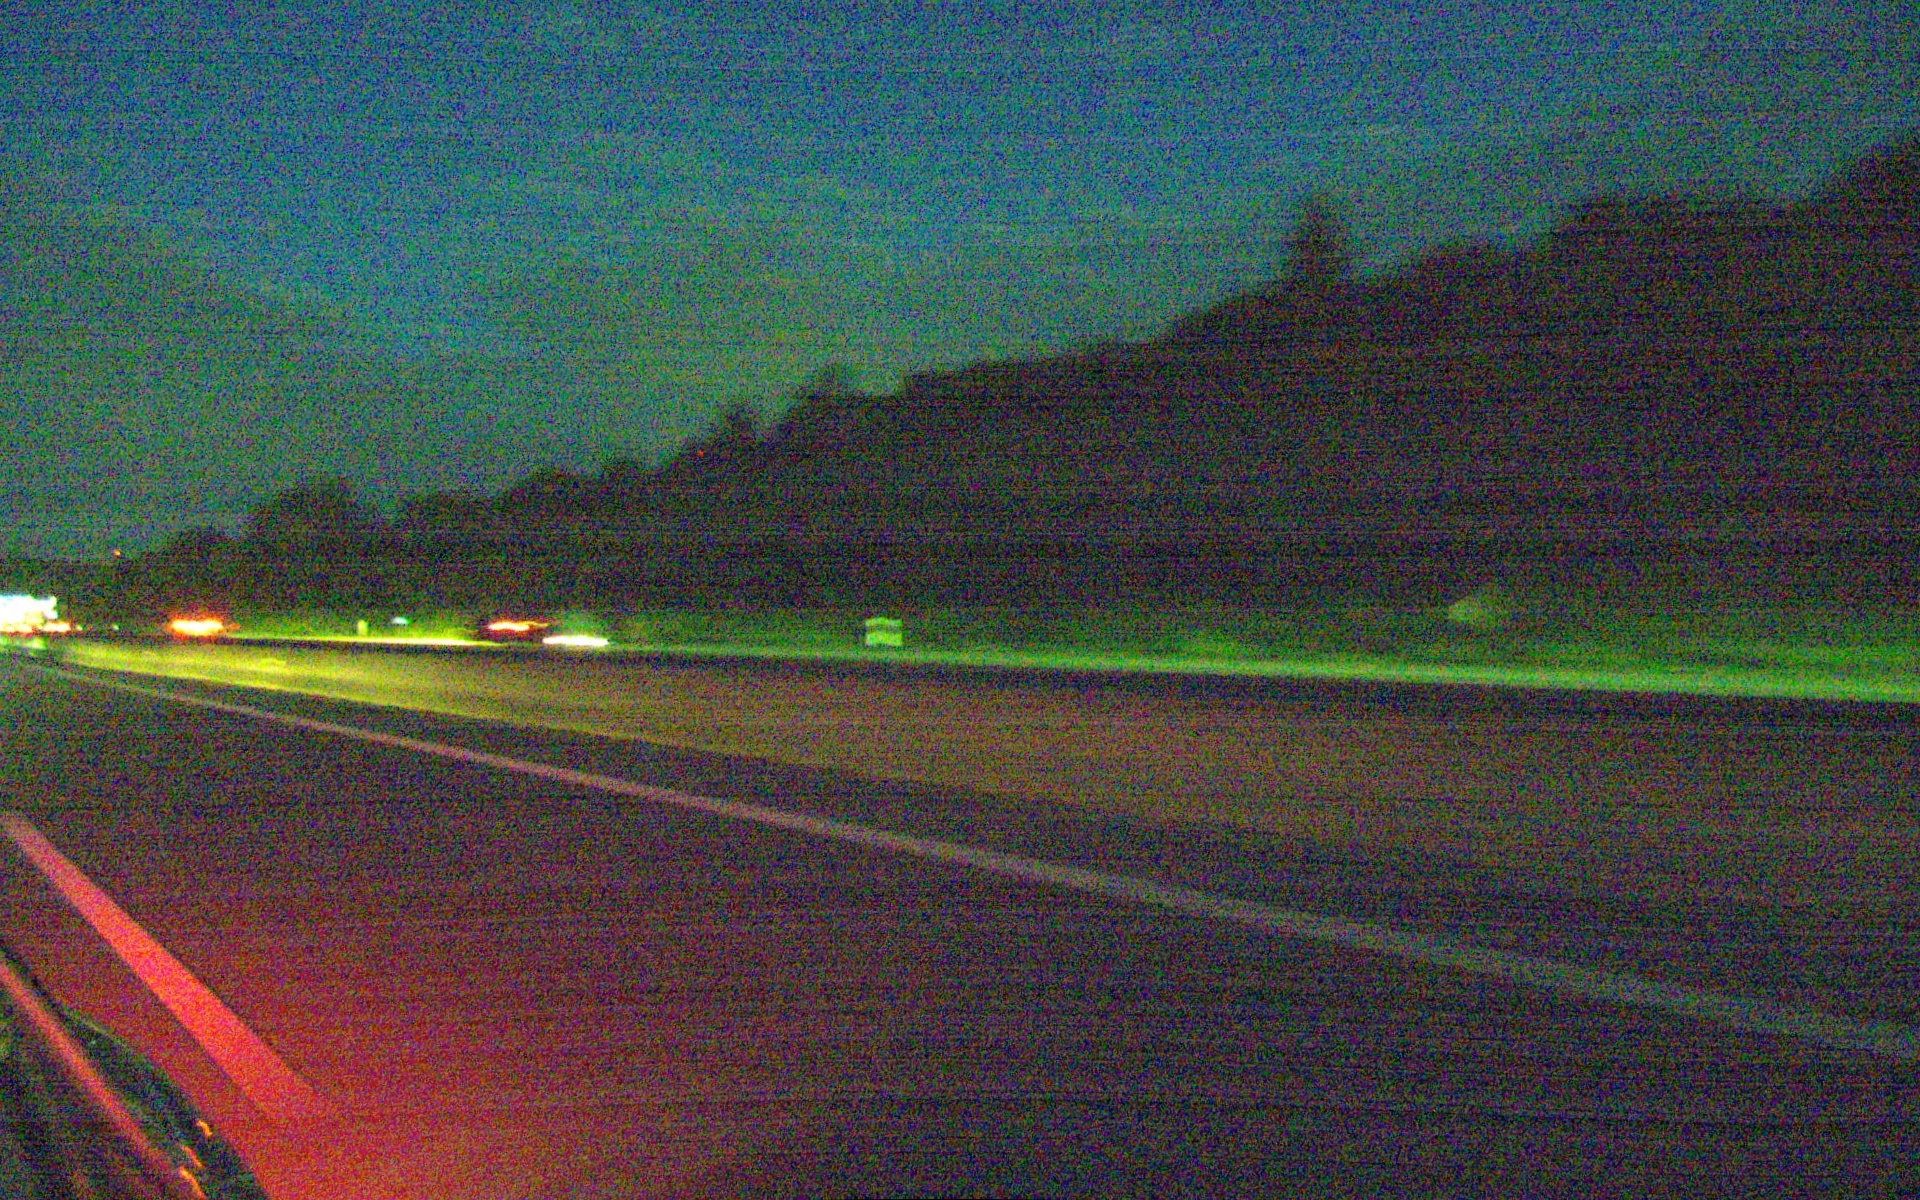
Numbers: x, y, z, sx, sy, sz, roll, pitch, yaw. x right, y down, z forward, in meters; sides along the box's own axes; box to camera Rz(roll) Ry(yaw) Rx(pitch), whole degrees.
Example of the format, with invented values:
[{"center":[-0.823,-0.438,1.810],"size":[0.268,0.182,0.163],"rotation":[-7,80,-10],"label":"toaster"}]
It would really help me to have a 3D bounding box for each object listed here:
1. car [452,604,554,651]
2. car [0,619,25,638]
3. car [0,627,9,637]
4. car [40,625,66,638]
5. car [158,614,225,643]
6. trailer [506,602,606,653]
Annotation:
[{"center":[-18.318,1.083,40.478],"size":[4.879,1.760,1.893],"rotation":[-1,0,42],"label":"car"},{"center":[-89.665,2.703,95.091],"size":[4.886,1.732,2.220],"rotation":[-2,0,42],"label":"car"},{"center":[-167.352,5.536,176.124],"size":[4.888,1.681,2.220],"rotation":[-2,-1,42],"label":"car"},{"center":[-126.334,4.366,140.968],"size":[4.886,1.681,2.220],"rotation":[-2,-1,42],"label":"car"},{"center":[-46.171,1.725,60.778],"size":[4.884,1.610,2.221],"rotation":[-2,0,40],"label":"car"},{"center":[-15.024,1.005,37.568],"size":[3.843,1.760,1.876],"rotation":[-1,0,41],"label":"trailer"}]
